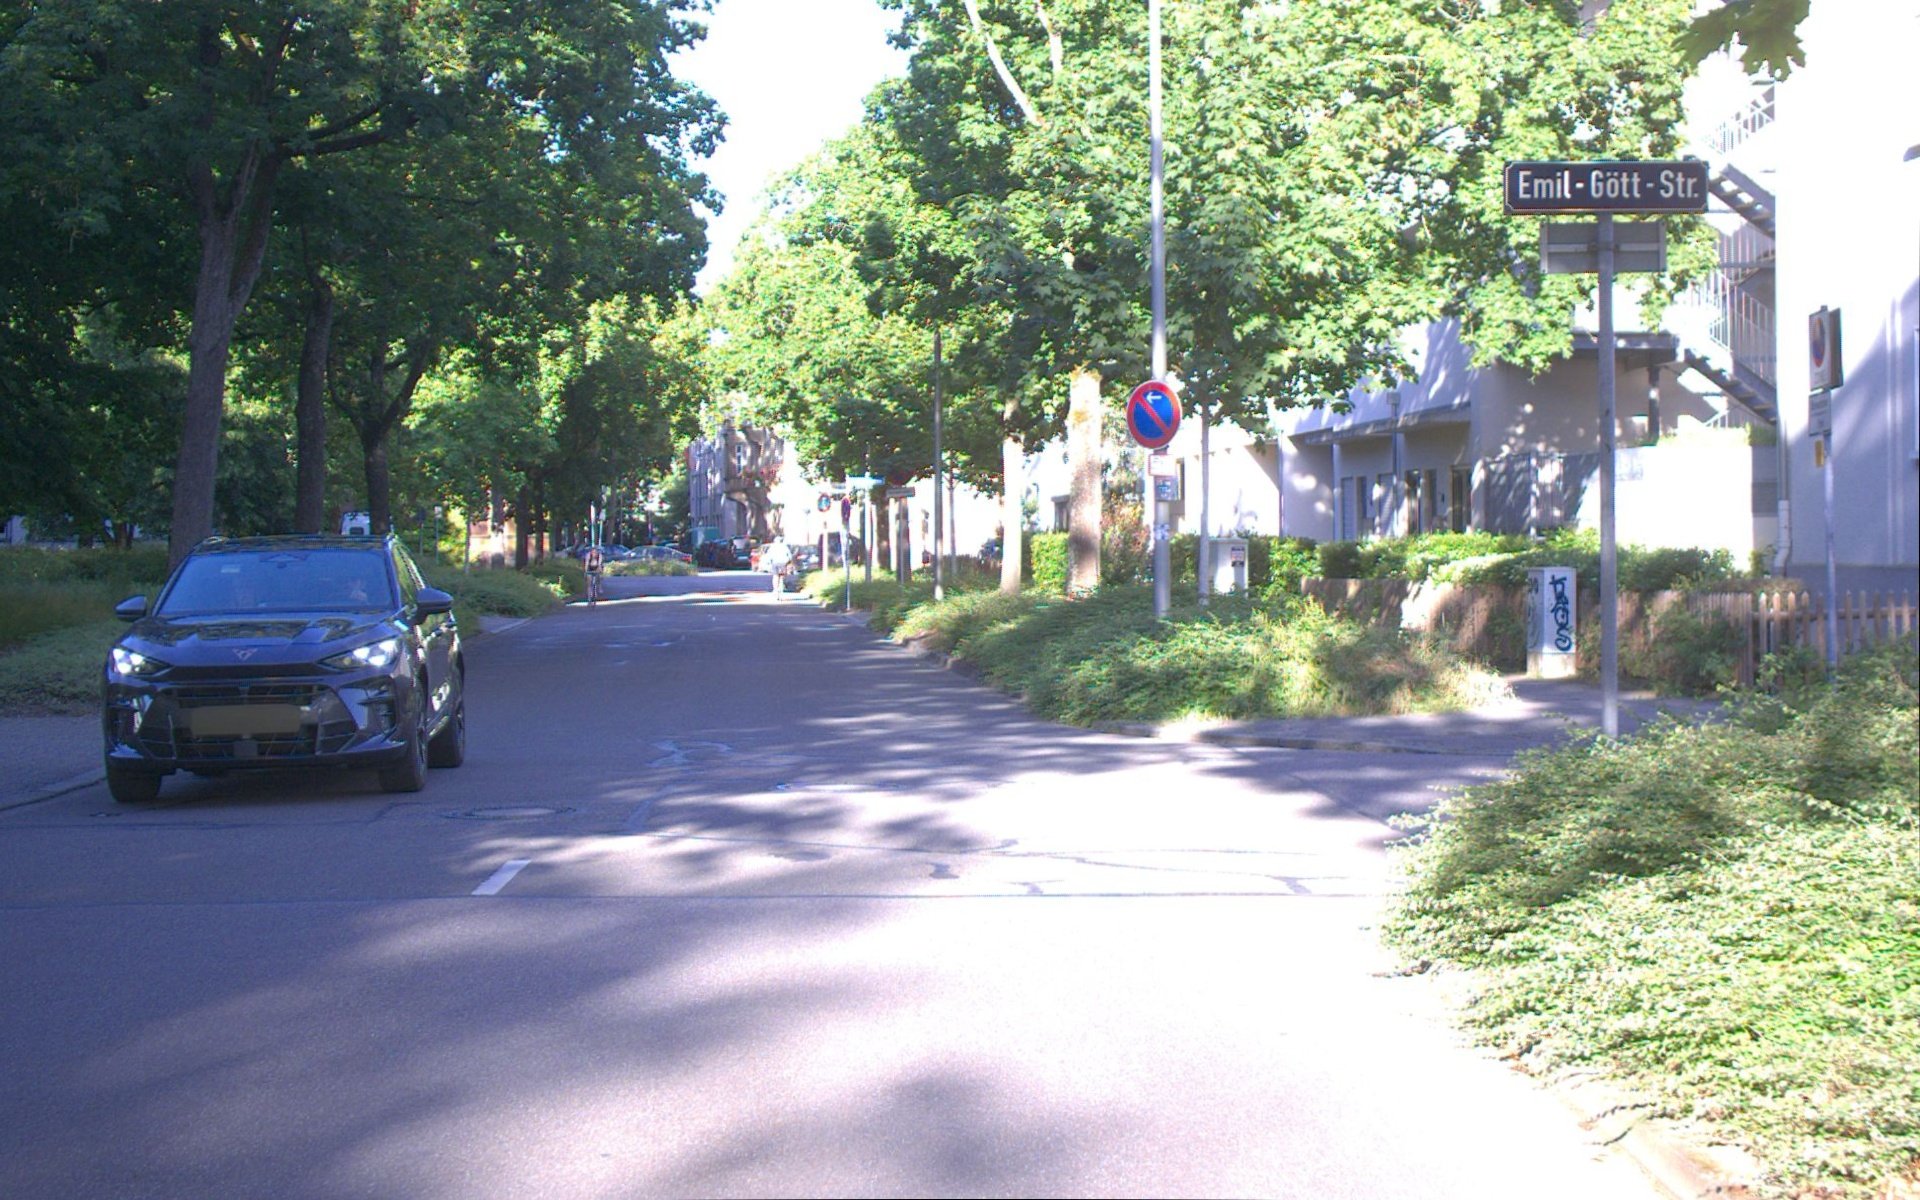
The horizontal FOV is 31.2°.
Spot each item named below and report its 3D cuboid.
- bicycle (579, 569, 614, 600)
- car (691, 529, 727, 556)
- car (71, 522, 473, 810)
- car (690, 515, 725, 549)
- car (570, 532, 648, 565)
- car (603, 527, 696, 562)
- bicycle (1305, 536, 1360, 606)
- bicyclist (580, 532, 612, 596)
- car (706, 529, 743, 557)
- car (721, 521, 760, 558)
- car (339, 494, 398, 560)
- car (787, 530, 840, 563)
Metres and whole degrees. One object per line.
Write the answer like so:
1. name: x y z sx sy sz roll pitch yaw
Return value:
1. bicycle: -9.081 -0.394 85.895 0.639 0.739 2.126 -2 1 0
2. car: -14.670 -3.367 200.909 1.811 1.496 4.001 1 1 -8
3. car: -4.209 0.325 21.690 1.844 1.573 4.336 -2 1 -3
4. car: -15.513 -4.194 211.076 1.811 2.043 4.001 1 1 -8
5. car: -17.130 -2.510 167.713 3.586 1.505 1.501 1 1 -12
6. car: -14.032 -2.503 155.384 3.986 1.496 1.818 1 1 -12
7. bicycle: 6.481 -0.516 59.862 0.617 1.187 1.754 1 1 -4
8. bicyclist: -9.106 -0.906 86.007 0.633 1.549 1.002 -2 1 0
9. car: -13.347 -3.246 194.445 1.811 1.496 4.001 1 1 -8
10. car: -11.927 -3.293 186.377 1.811 1.919 4.001 1 1 -8
11. car: -22.963 -2.826 133.406 1.993 2.499 4.001 1 1 -13
12. car: -6.751 -2.476 157.998 1.811 1.496 4.001 -1 1 -11
